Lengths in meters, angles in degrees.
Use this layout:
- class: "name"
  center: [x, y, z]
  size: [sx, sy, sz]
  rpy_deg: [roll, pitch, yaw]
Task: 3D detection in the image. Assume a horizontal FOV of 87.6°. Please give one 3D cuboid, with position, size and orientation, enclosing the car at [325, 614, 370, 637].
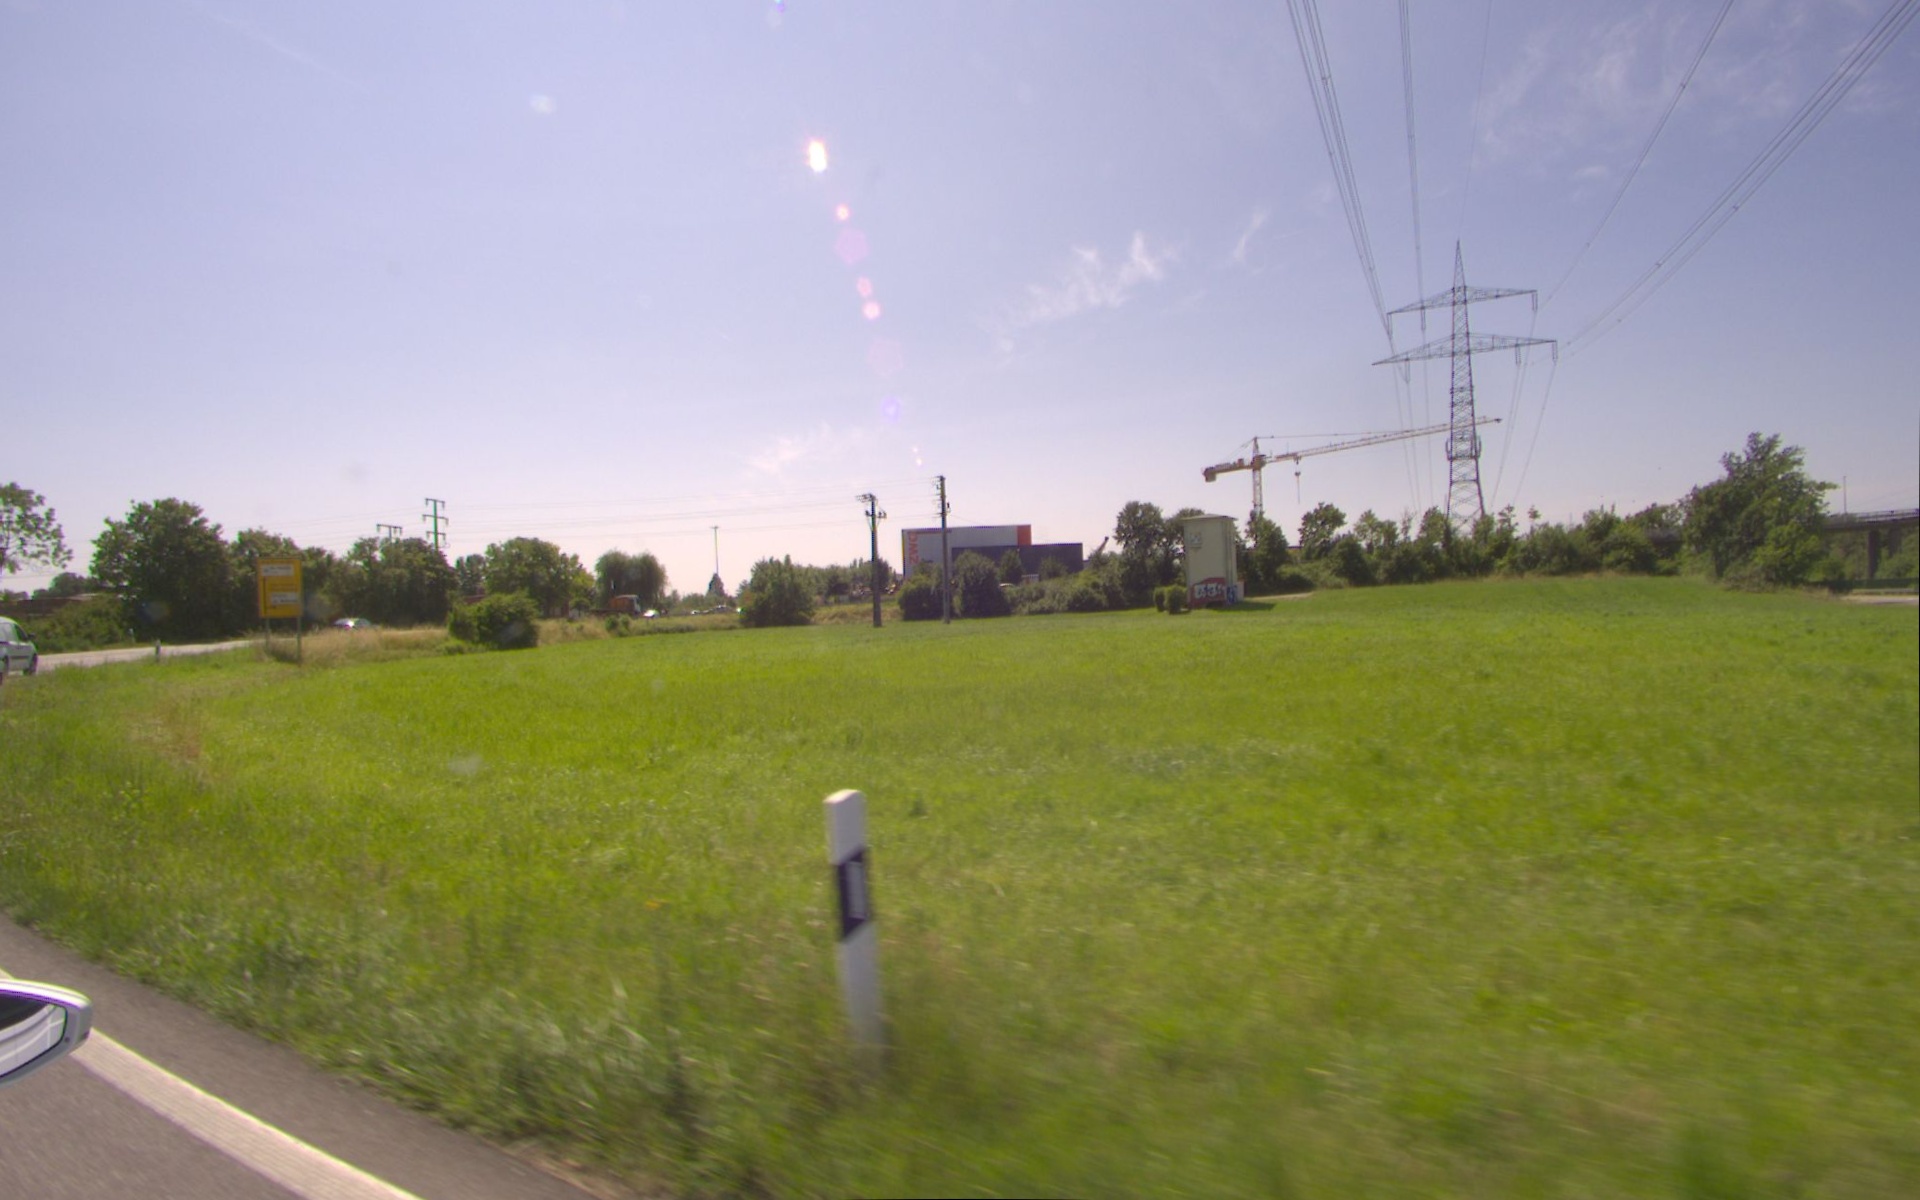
- class: "car"
  center: [-42.151, 1.756, 69.022]
  size: [1.694, 1.438, 3.739]
  rpy_deg: [-2, -1, -16]

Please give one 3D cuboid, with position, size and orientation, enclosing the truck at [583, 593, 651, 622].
- class: "truck"
  center: [-40.180, 0.945, 117.586]
  size: [3.052, 3.176, 8.794]
  rpy_deg: [-1, -2, 17]

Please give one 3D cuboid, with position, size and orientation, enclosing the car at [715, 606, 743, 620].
- class: "car"
  center: [-35.564, 2.015, 154.372]
  size: [3.922, 2.039, 2.001]
  rpy_deg: [-1, -2, -3]

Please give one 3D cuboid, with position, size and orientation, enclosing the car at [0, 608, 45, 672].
- class: "car"
  center: [-27.905, 1.173, 28.627]
  size: [1.884, 1.755, 3.800]
  rpy_deg: [-2, -1, -33]
